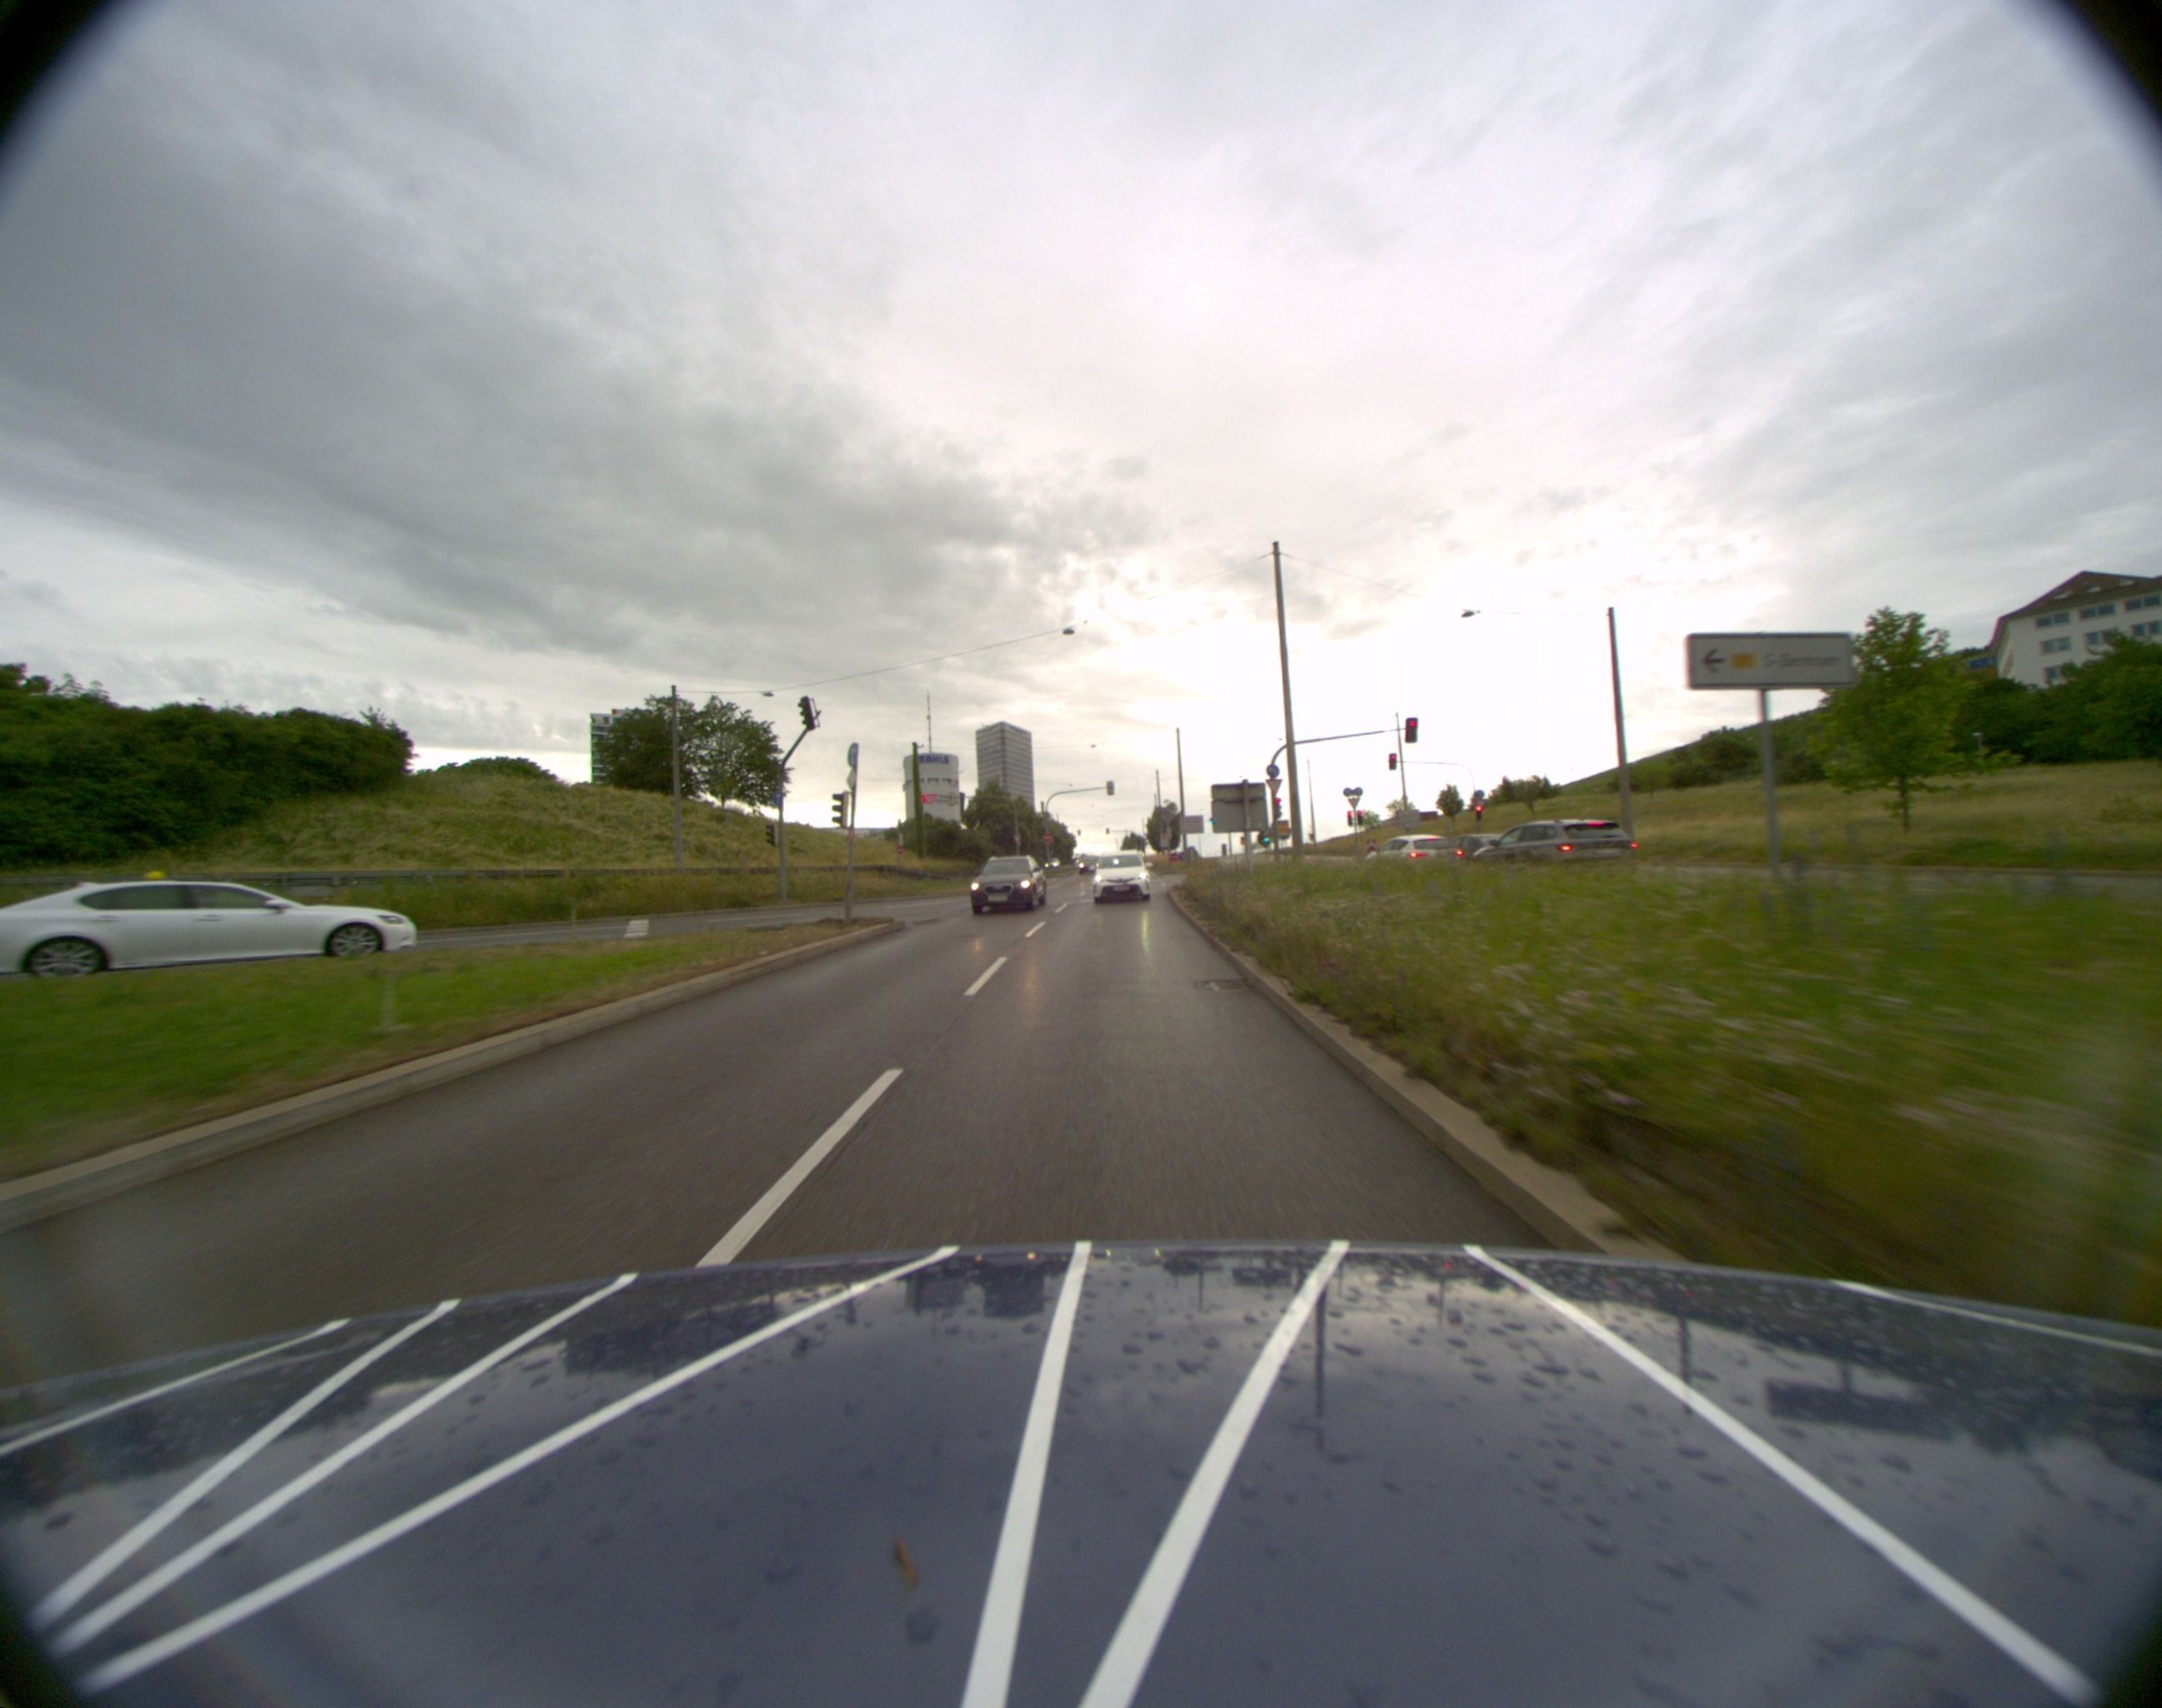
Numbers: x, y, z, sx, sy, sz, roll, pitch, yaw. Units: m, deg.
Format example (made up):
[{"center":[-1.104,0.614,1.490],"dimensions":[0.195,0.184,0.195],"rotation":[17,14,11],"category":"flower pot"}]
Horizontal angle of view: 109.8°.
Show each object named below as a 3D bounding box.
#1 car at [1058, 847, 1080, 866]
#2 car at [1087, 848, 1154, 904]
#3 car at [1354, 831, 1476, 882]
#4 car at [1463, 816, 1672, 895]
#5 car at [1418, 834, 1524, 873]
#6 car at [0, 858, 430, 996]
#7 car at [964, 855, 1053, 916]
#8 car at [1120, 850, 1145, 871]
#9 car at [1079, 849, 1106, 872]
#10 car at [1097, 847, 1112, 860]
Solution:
[{"center":[-1.320,0.241,84.353],"dimensions":[1.998,2.002,4.001],"rotation":[-4,0,3],"category":"car"},{"center":[1.314,0.645,24.956],"dimensions":[1.924,1.604,4.376],"rotation":[-3,0,4],"category":"car"},{"center":[10.823,0.062,25.052],"dimensions":[1.966,1.414,4.437],"rotation":[-4,0,-1],"category":"car"},{"center":[11.189,0.020,17.956],"dimensions":[1.999,1.503,4.437],"rotation":[-4,0,-1],"category":"car"},{"center":[14.377,-0.018,28.264],"dimensions":[1.807,1.299,4.018],"rotation":[-2,0,-1],"category":"car"},{"center":[-13.768,1.012,11.956],"dimensions":[2.069,1.636,4.999],"rotation":[-2,1,40],"category":"car"},{"center":[-2.079,0.865,23.040],"dimensions":[1.927,1.591,4.280],"rotation":[-2,0,4],"category":"car"},{"center":[4.517,0.612,67.143],"dimensions":[1.998,1.761,4.001],"rotation":[0,-1,1],"category":"car"},{"center":[0.920,0.479,57.813],"dimensions":[1.781,1.591,3.901],"rotation":[-3,0,5],"category":"car"},{"center":[3.122,-0.031,100.008],"dimensions":[1.781,1.591,4.121],"rotation":[-3,0,5],"category":"car"}]
